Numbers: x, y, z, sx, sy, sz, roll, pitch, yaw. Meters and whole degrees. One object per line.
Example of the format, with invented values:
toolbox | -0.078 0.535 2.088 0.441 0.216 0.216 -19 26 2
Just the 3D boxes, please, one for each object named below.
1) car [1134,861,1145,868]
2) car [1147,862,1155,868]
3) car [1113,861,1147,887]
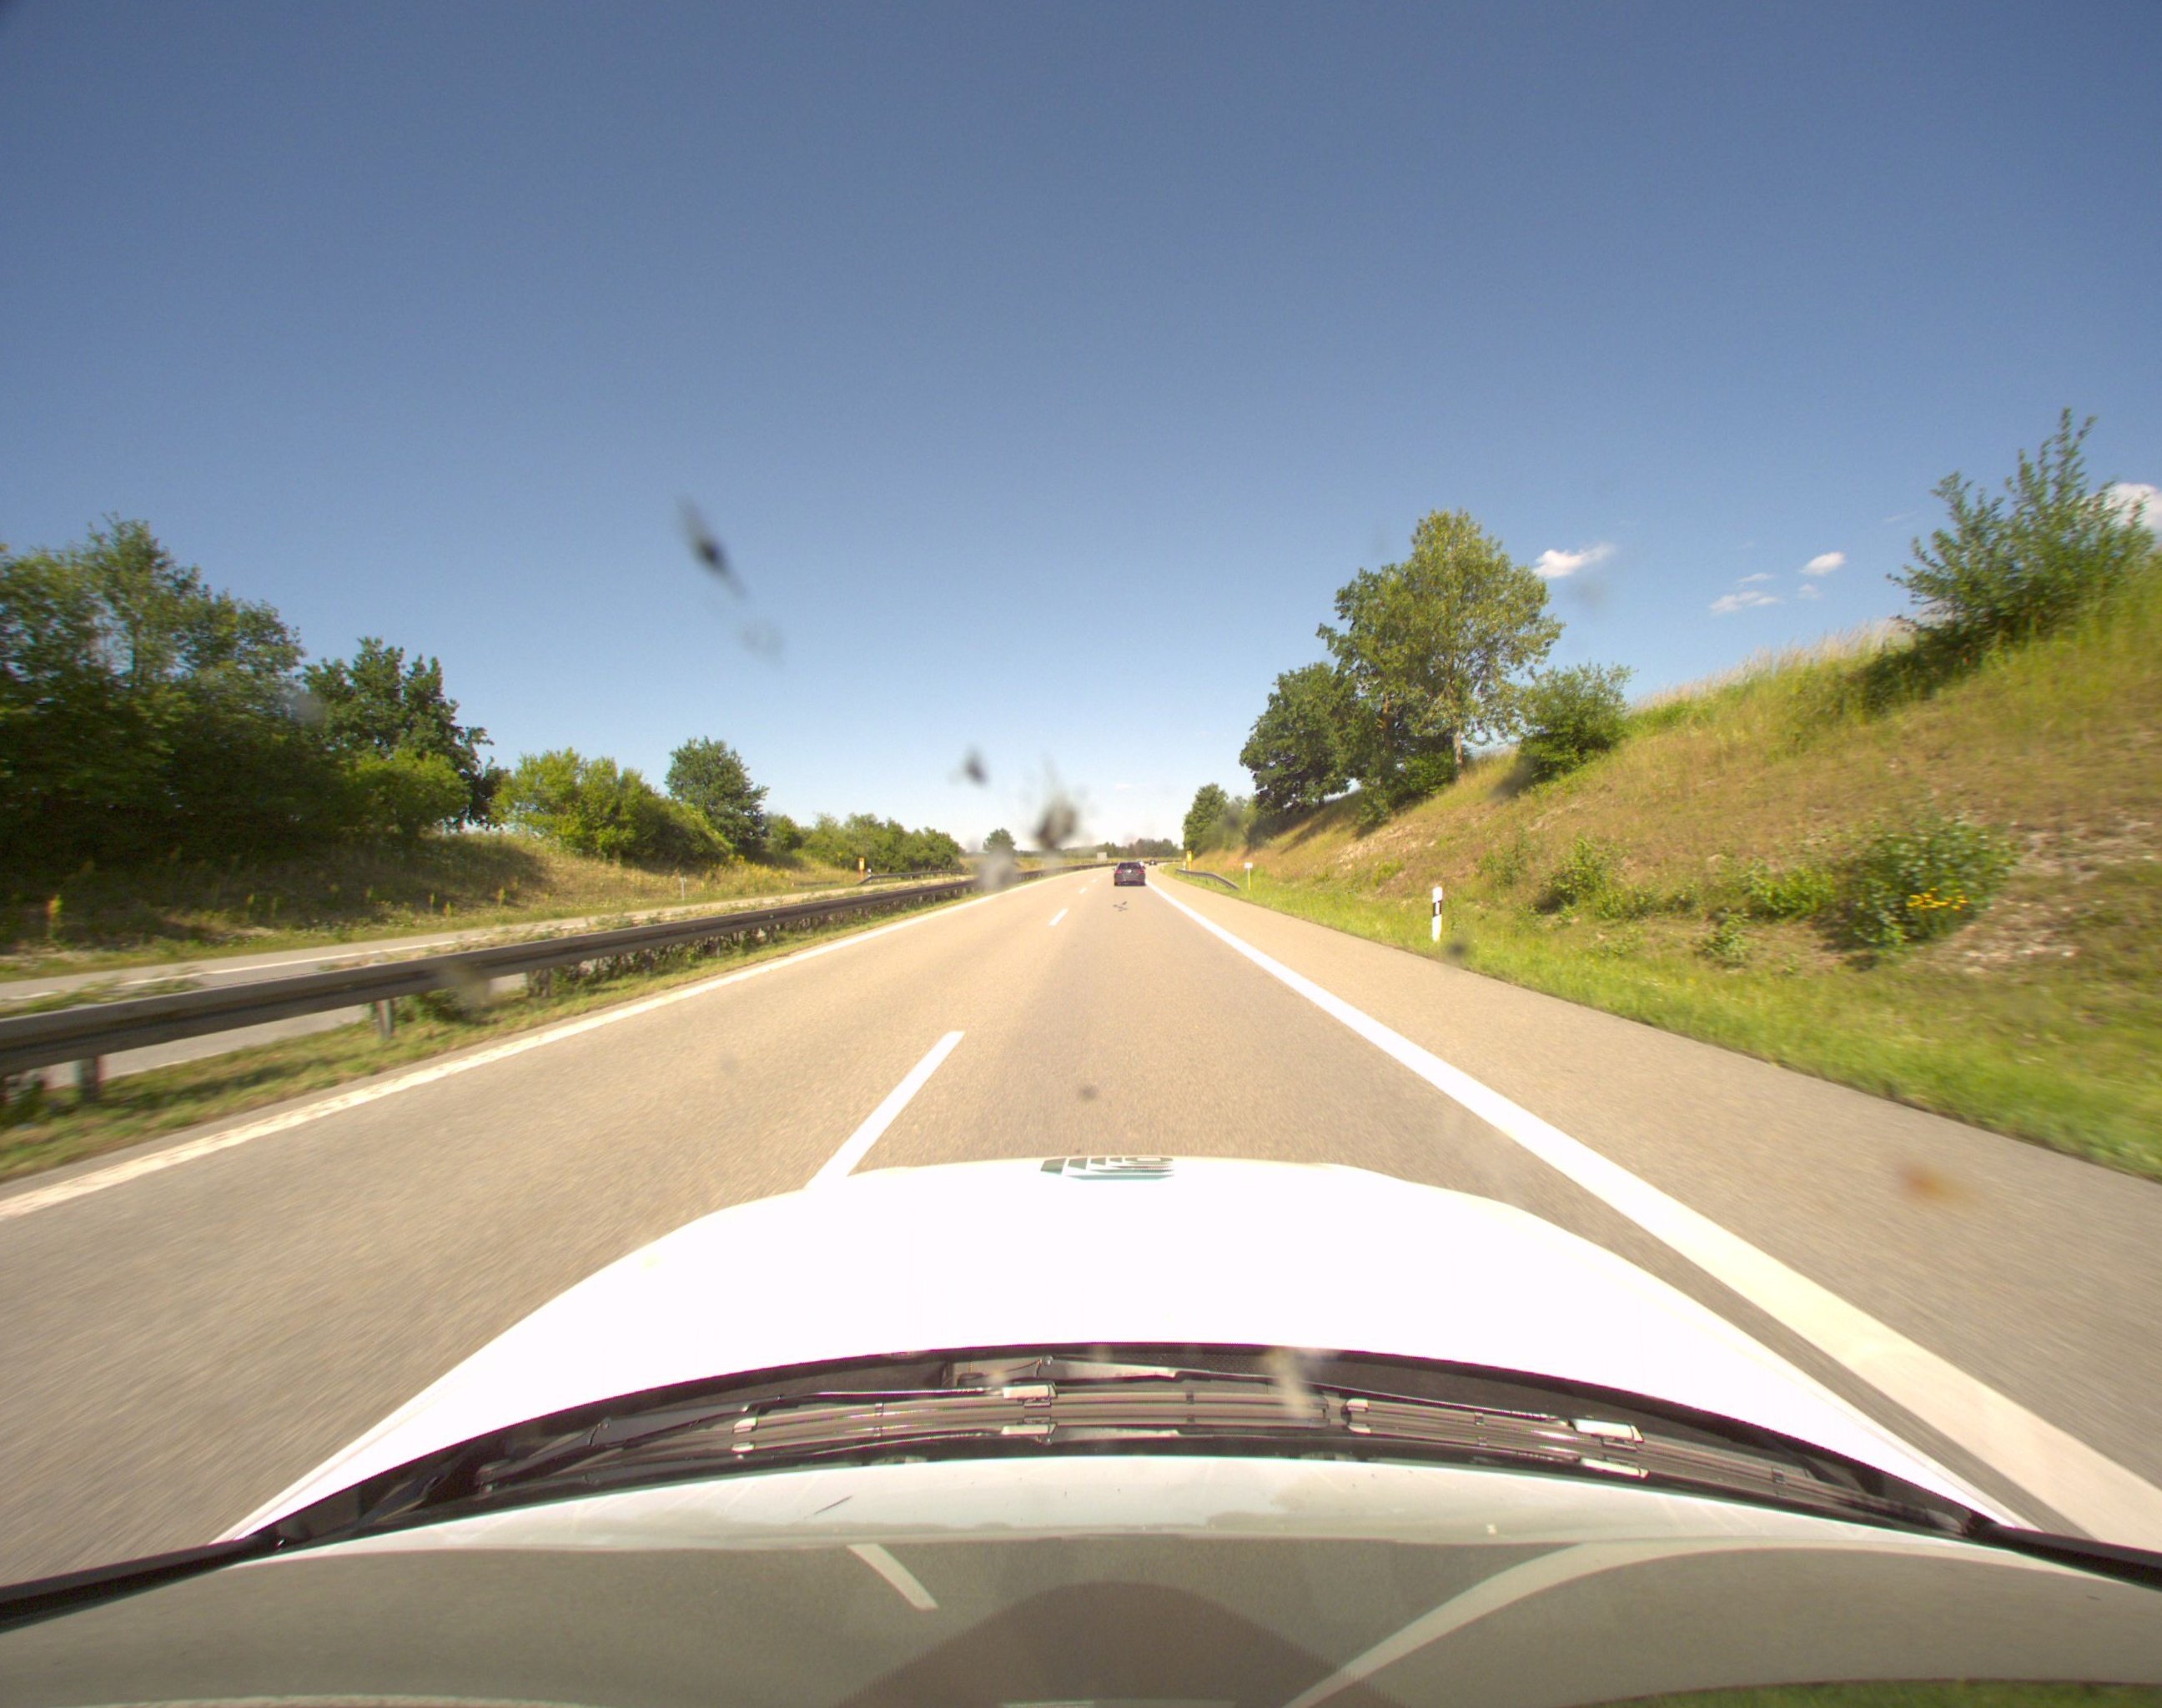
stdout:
car | 11.111 1.987 153.744 1.998 1.345 4.005 1 -1 5
car | 16.955 2.552 197.000 1.703 1.387 3.359 1 -1 4
car | 2.783 1.126 47.113 1.784 1.344 4.001 -1 0 1
